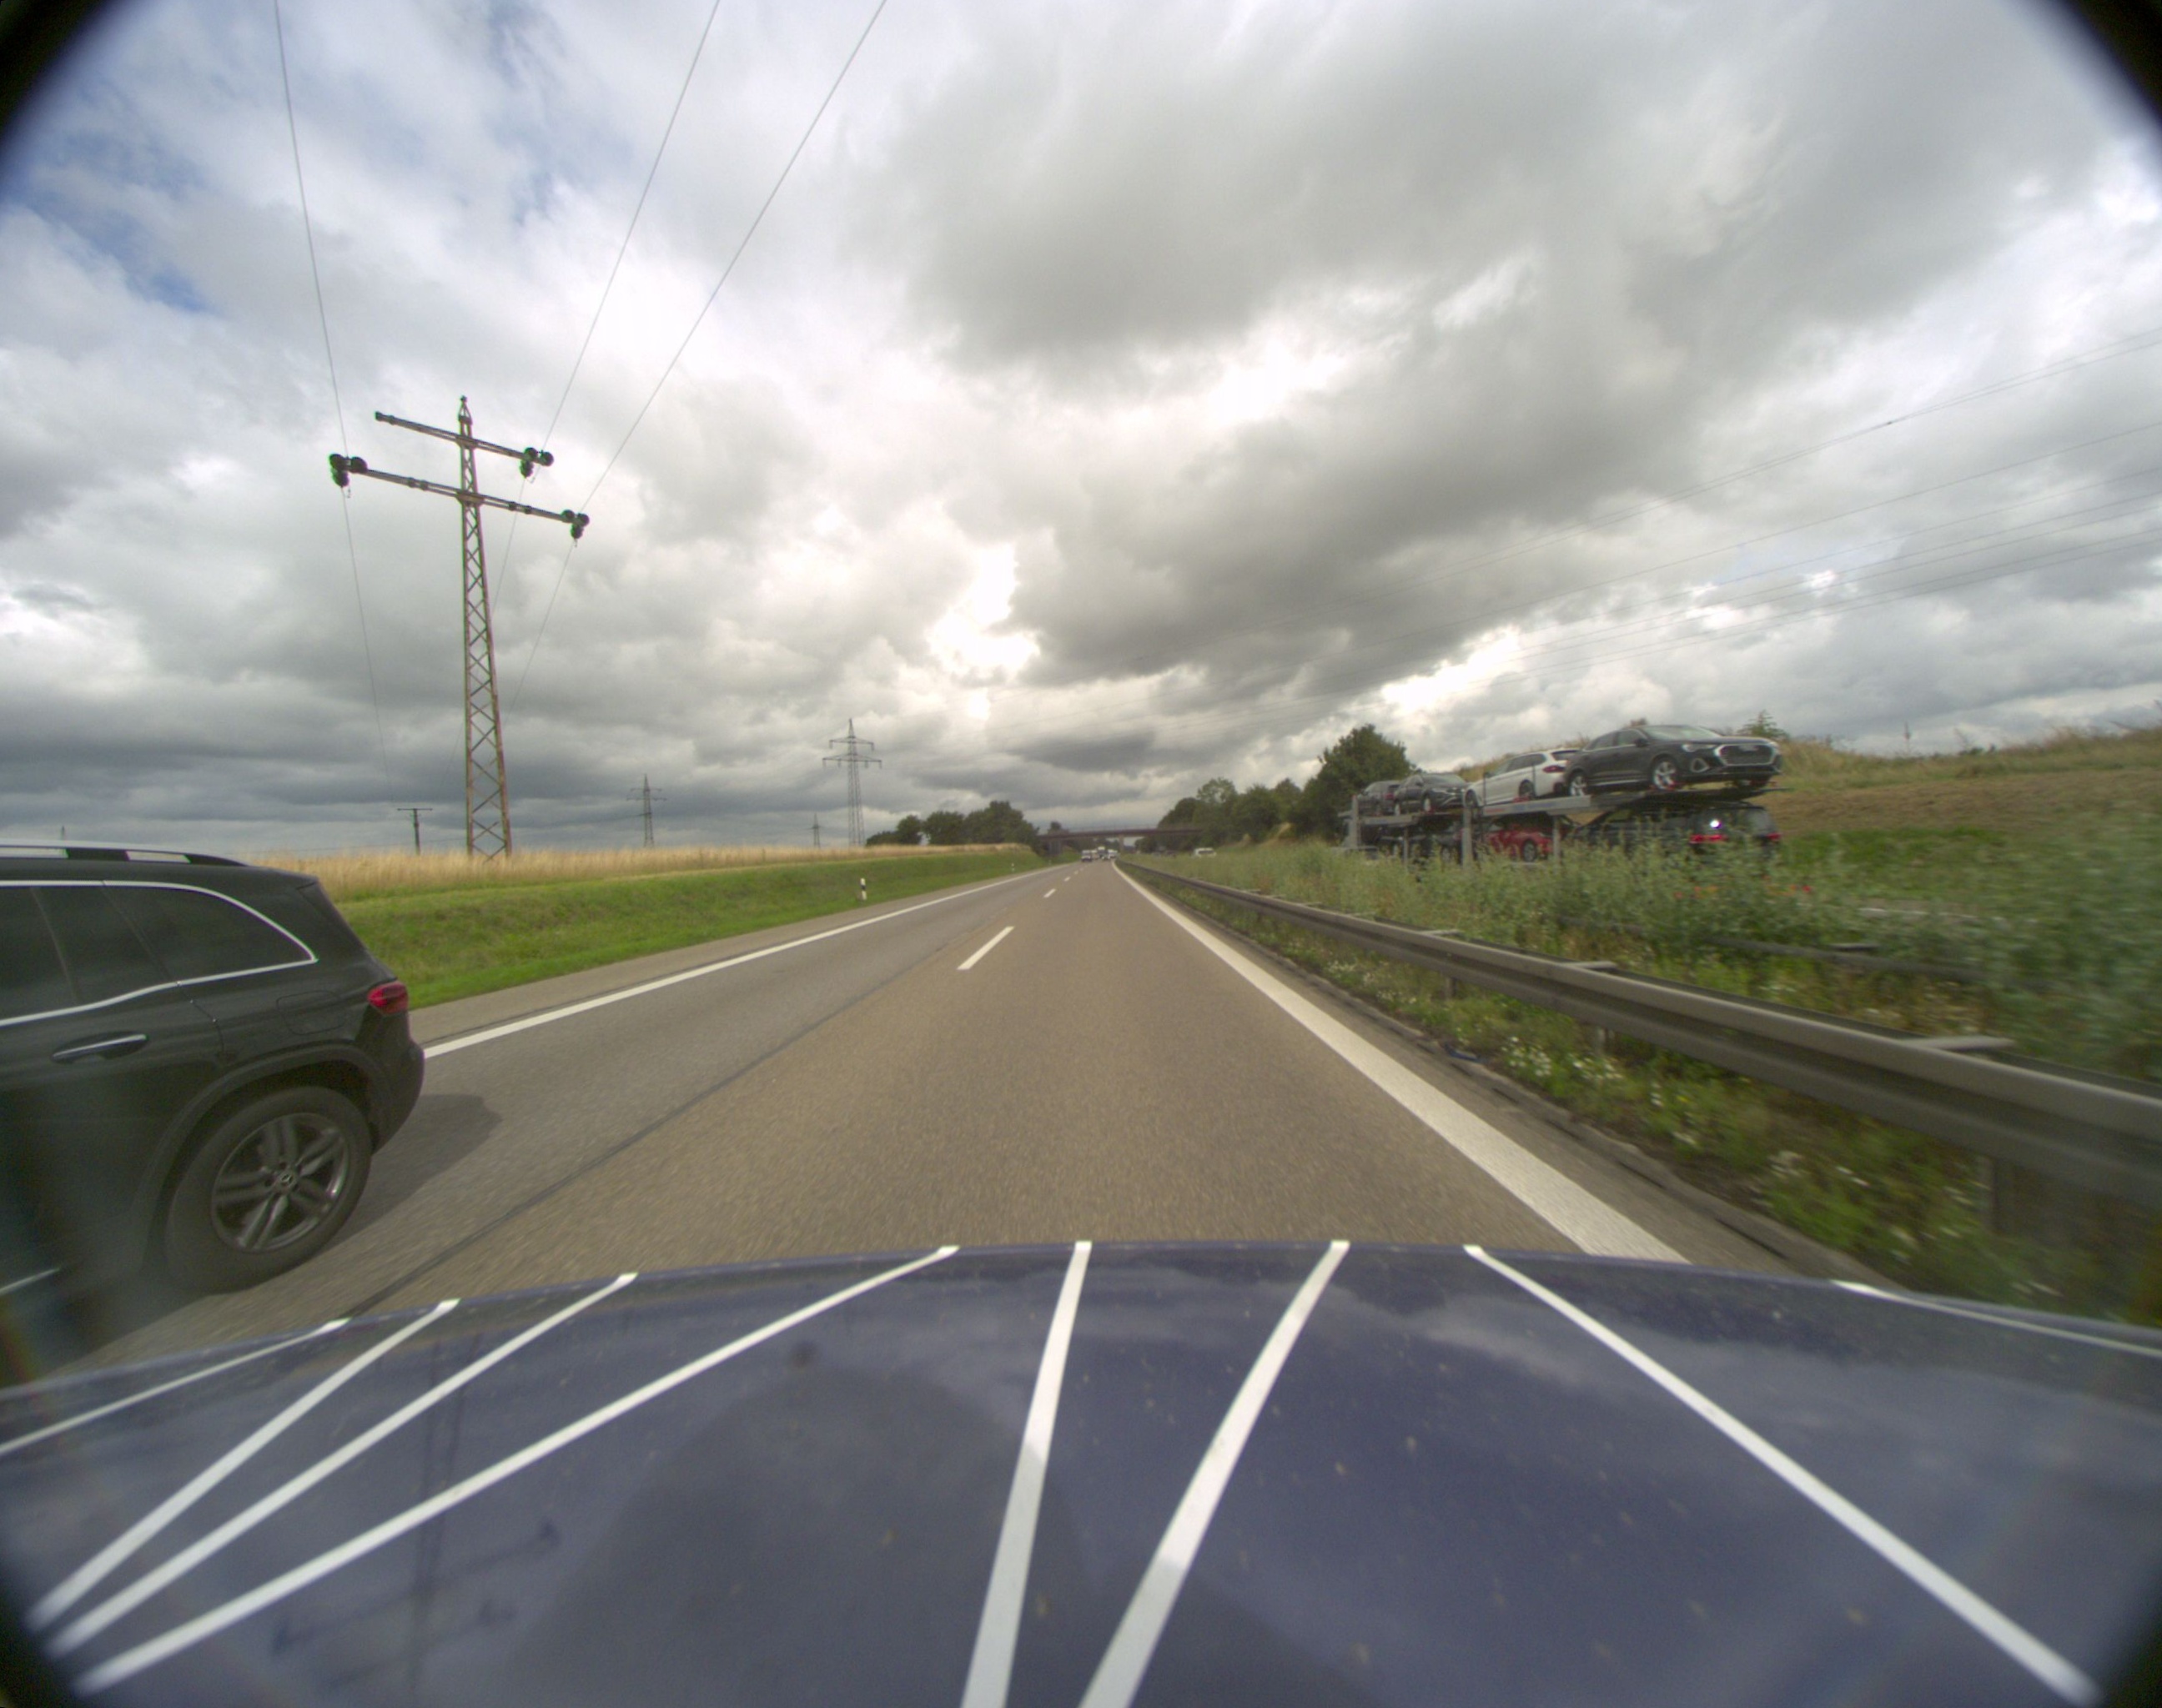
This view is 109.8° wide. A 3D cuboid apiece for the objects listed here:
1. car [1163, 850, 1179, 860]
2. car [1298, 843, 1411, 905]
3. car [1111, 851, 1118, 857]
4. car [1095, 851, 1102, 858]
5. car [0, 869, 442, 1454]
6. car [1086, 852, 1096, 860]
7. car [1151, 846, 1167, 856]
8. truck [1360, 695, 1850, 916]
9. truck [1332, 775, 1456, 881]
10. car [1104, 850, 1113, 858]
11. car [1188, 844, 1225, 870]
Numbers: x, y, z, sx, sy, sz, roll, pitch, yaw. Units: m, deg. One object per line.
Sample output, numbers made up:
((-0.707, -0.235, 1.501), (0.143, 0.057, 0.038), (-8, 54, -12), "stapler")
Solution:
((15.121, 0.171, 127.687), (1.933, 1.566, 5.621), (-2, 1, 0), "car")
((8.212, 0.543, 23.245), (1.998, 1.652, 4.301), (-2, 1, 2), "car")
((11.057, 0.043, 248.298), (1.999, 1.698, 3.999), (-2, 0, 0), "car")
((4.982, 0.200, 215.449), (1.833, 1.849, 5.790), (-1, 0, 1), "car")
((-3.992, 0.918, 1.388), (1.838, 1.600, 4.360), (-2, 1, 1), "car")
((2.180, 0.443, 168.351), (1.998, 1.812, 4.342), (-2, 0, 1), "car")
((11.694, -0.431, 114.432), (1.998, 1.448, 4.443), (-2, 1, 2), "car")
((12.632, -0.902, 22.376), (2.730, 3.913, 17.402), (-1, 0, 1), "truck")
((12.813, -0.979, 31.673), (2.730, 3.913, 5.987), (-1, 0, 1), "truck")
((6.795, 0.004, 187.400), (1.998, 1.695, 4.663), (-4, -1, 1), "car")
((9.165, 0.212, 55.996), (1.998, 1.674, 4.000), (-5, 1, 1), "car")
